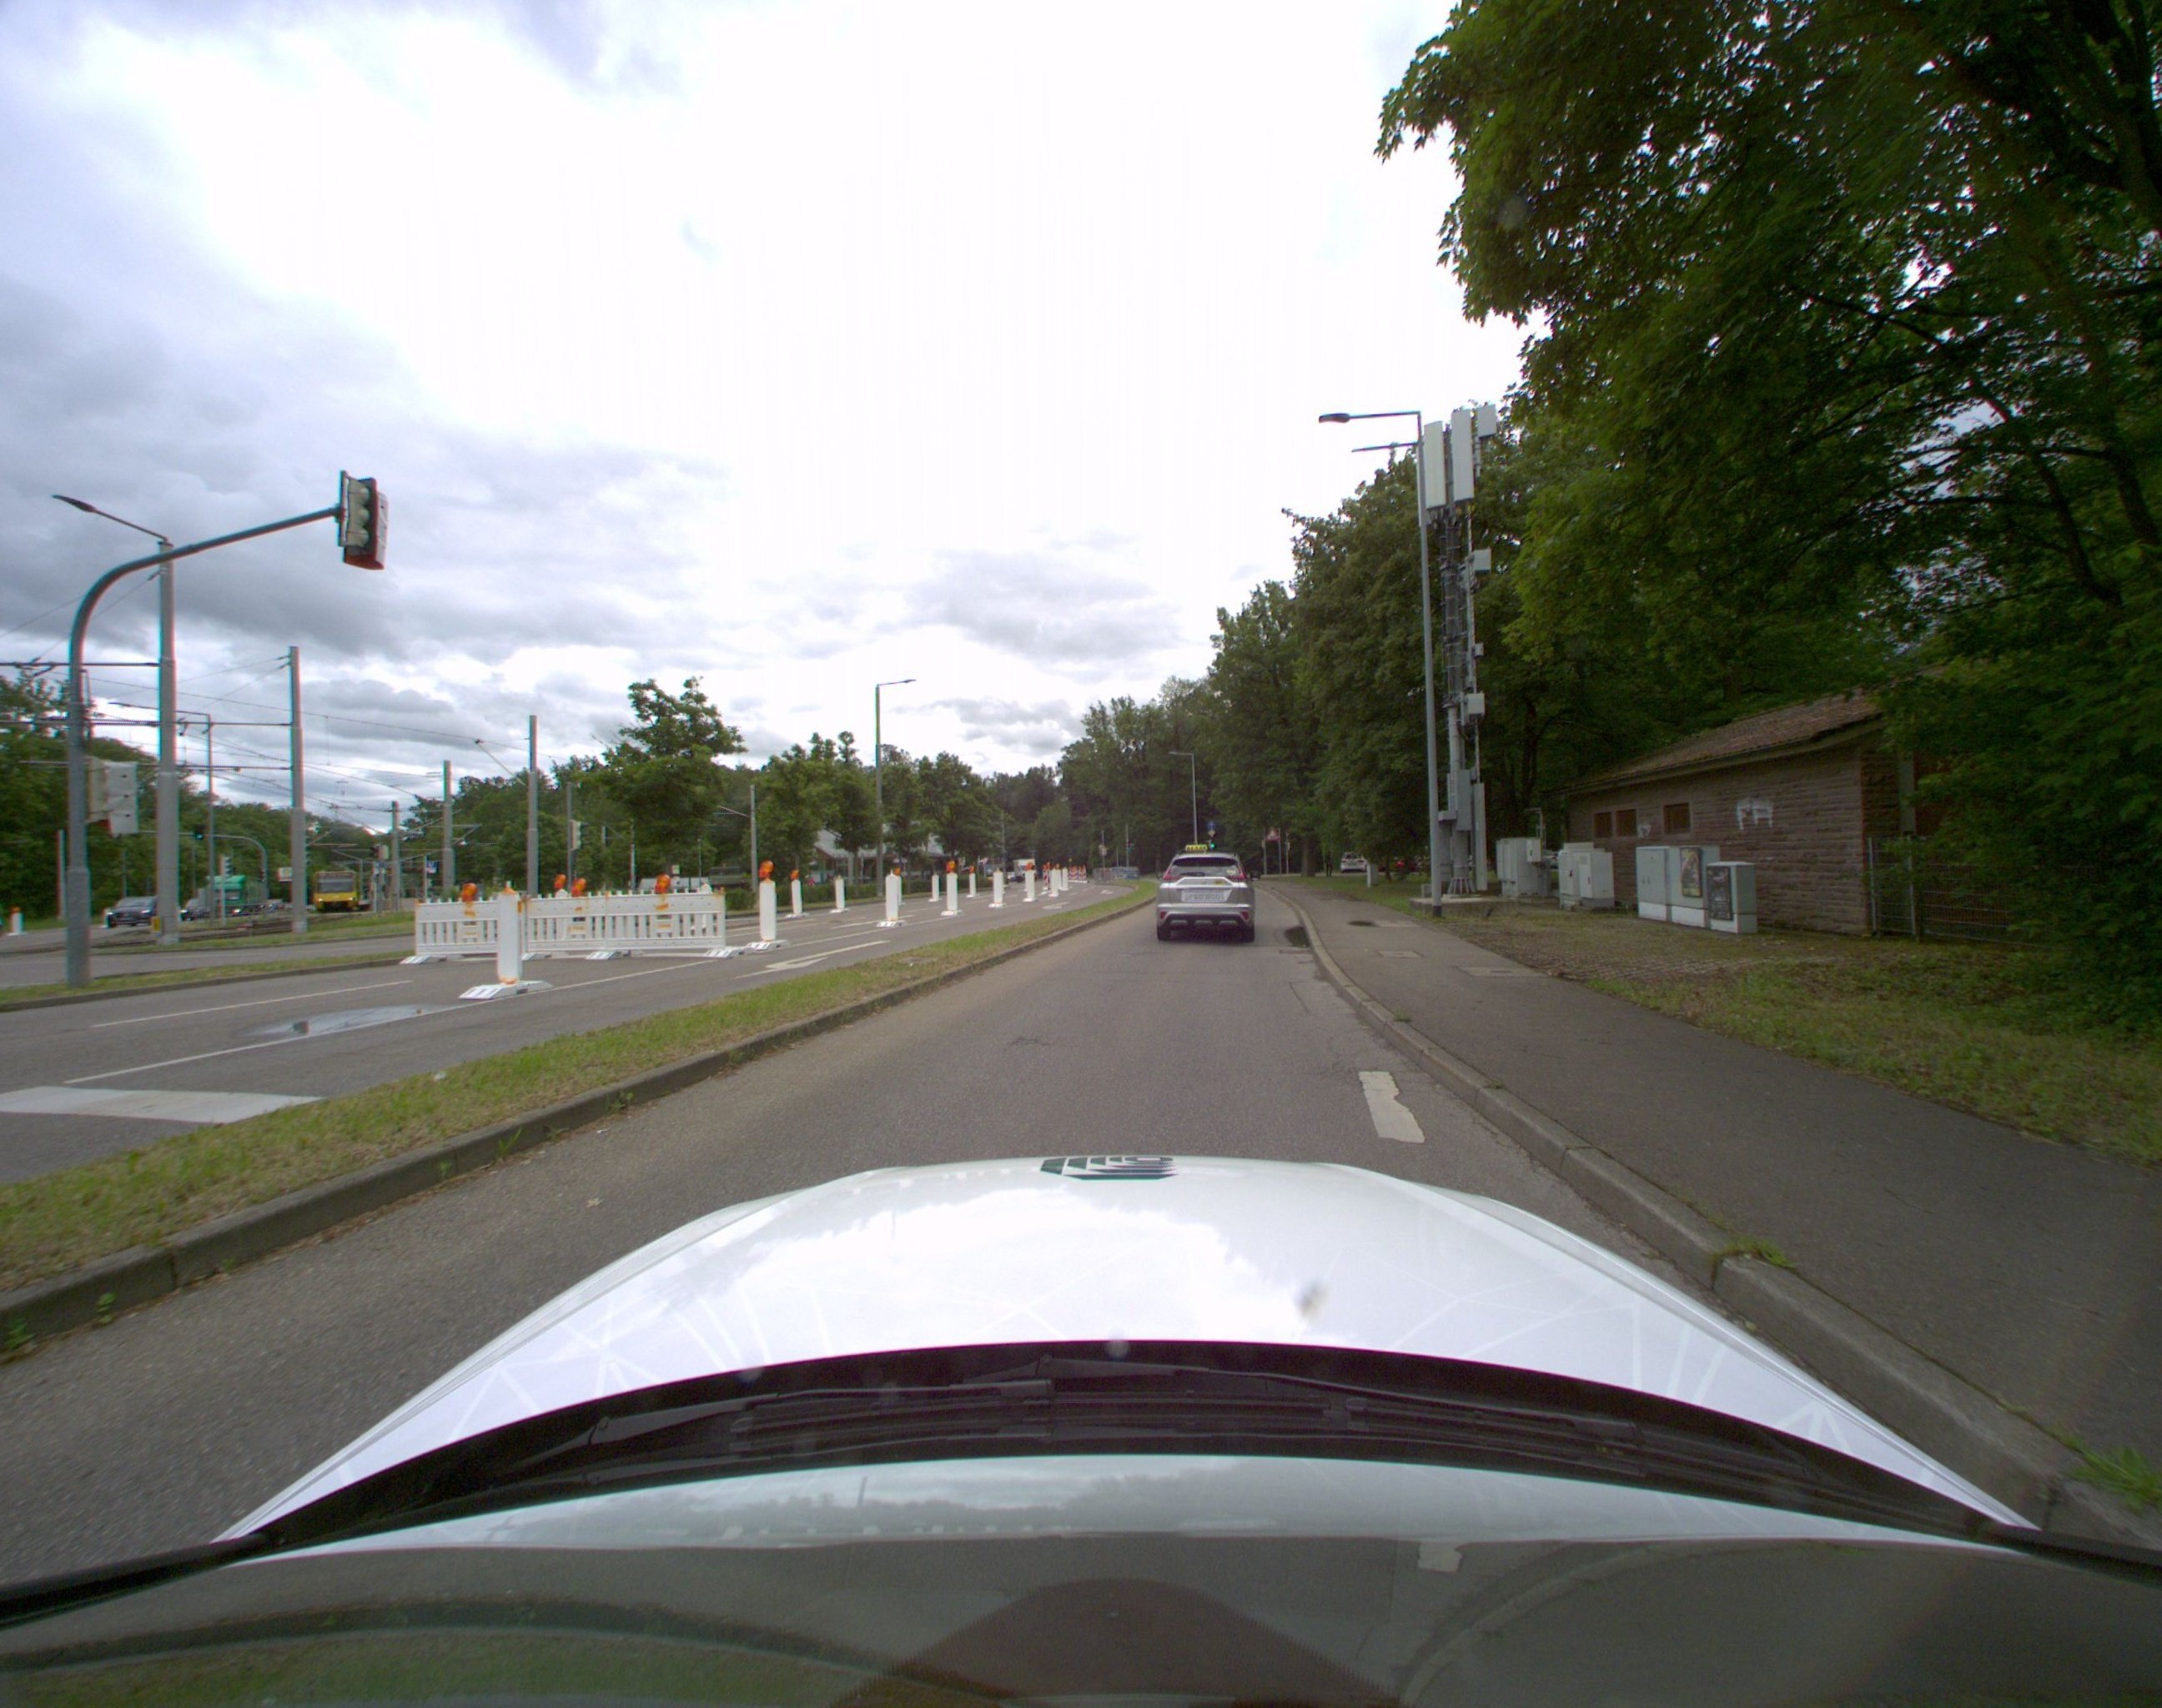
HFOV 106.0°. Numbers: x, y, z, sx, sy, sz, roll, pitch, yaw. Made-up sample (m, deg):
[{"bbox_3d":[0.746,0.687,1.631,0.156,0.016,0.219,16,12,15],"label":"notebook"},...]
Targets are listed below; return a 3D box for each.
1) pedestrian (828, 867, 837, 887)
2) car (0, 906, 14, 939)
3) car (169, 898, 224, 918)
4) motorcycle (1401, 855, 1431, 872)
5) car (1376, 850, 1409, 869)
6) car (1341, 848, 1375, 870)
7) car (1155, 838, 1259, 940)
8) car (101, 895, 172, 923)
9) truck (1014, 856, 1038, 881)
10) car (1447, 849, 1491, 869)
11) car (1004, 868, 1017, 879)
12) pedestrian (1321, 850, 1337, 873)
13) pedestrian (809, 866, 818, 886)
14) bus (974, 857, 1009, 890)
[{"bbox_3d":[-21.164,1.940,69.229,0.495,1.625,0.555,-1,-1,-44],"label":"pedestrian"},{"bbox_3d":[-52.446,3.336,38.015,1.977,1.541,4.348,-2,-1,-35],"label":"car"},{"bbox_3d":[-68.421,4.144,63.061,1.977,1.361,4.263,-2,-1,-35],"label":"car"},{"bbox_3d":[22.356,0.650,54.331,1.812,1.057,0.618,-2,0,20],"label":"motorcycle"},{"bbox_3d":[22.877,0.370,59.725,1.817,1.326,4.024,-2,0,26],"label":"car"},{"bbox_3d":[20.710,0.353,60.770,1.817,1.536,4.024,-2,0,26],"label":"car"},{"bbox_3d":[2.458,0.655,15.997,1.763,1.748,3.789,-1,-1,8],"label":"car"},{"bbox_3d":[-60.659,3.493,52.384,1.977,1.540,4.263,-2,-1,-35],"label":"car"},{"bbox_3d":[-7.812,2.101,114.444,2.483,3.287,8.492,-2,-1,-9],"label":"truck"},{"bbox_3d":[27.753,0.336,58.364,1.548,1.326,4.006,-2,0,6],"label":"car"},{"bbox_3d":[-11.002,3.039,127.095,1.556,1.529,3.812,-1,0,-11],"label":"car"},{"bbox_3d":[16.503,0.516,54.197,0.833,1.506,0.795,-2,-1,25],"label":"pedestrian"},{"bbox_3d":[-22.156,1.824,67.395,0.495,1.625,0.555,-1,-1,-45],"label":"pedestrian"},{"bbox_3d":[-10.711,2.208,96.270,2.823,3.603,12.751,-2,0,-12],"label":"bus"}]
